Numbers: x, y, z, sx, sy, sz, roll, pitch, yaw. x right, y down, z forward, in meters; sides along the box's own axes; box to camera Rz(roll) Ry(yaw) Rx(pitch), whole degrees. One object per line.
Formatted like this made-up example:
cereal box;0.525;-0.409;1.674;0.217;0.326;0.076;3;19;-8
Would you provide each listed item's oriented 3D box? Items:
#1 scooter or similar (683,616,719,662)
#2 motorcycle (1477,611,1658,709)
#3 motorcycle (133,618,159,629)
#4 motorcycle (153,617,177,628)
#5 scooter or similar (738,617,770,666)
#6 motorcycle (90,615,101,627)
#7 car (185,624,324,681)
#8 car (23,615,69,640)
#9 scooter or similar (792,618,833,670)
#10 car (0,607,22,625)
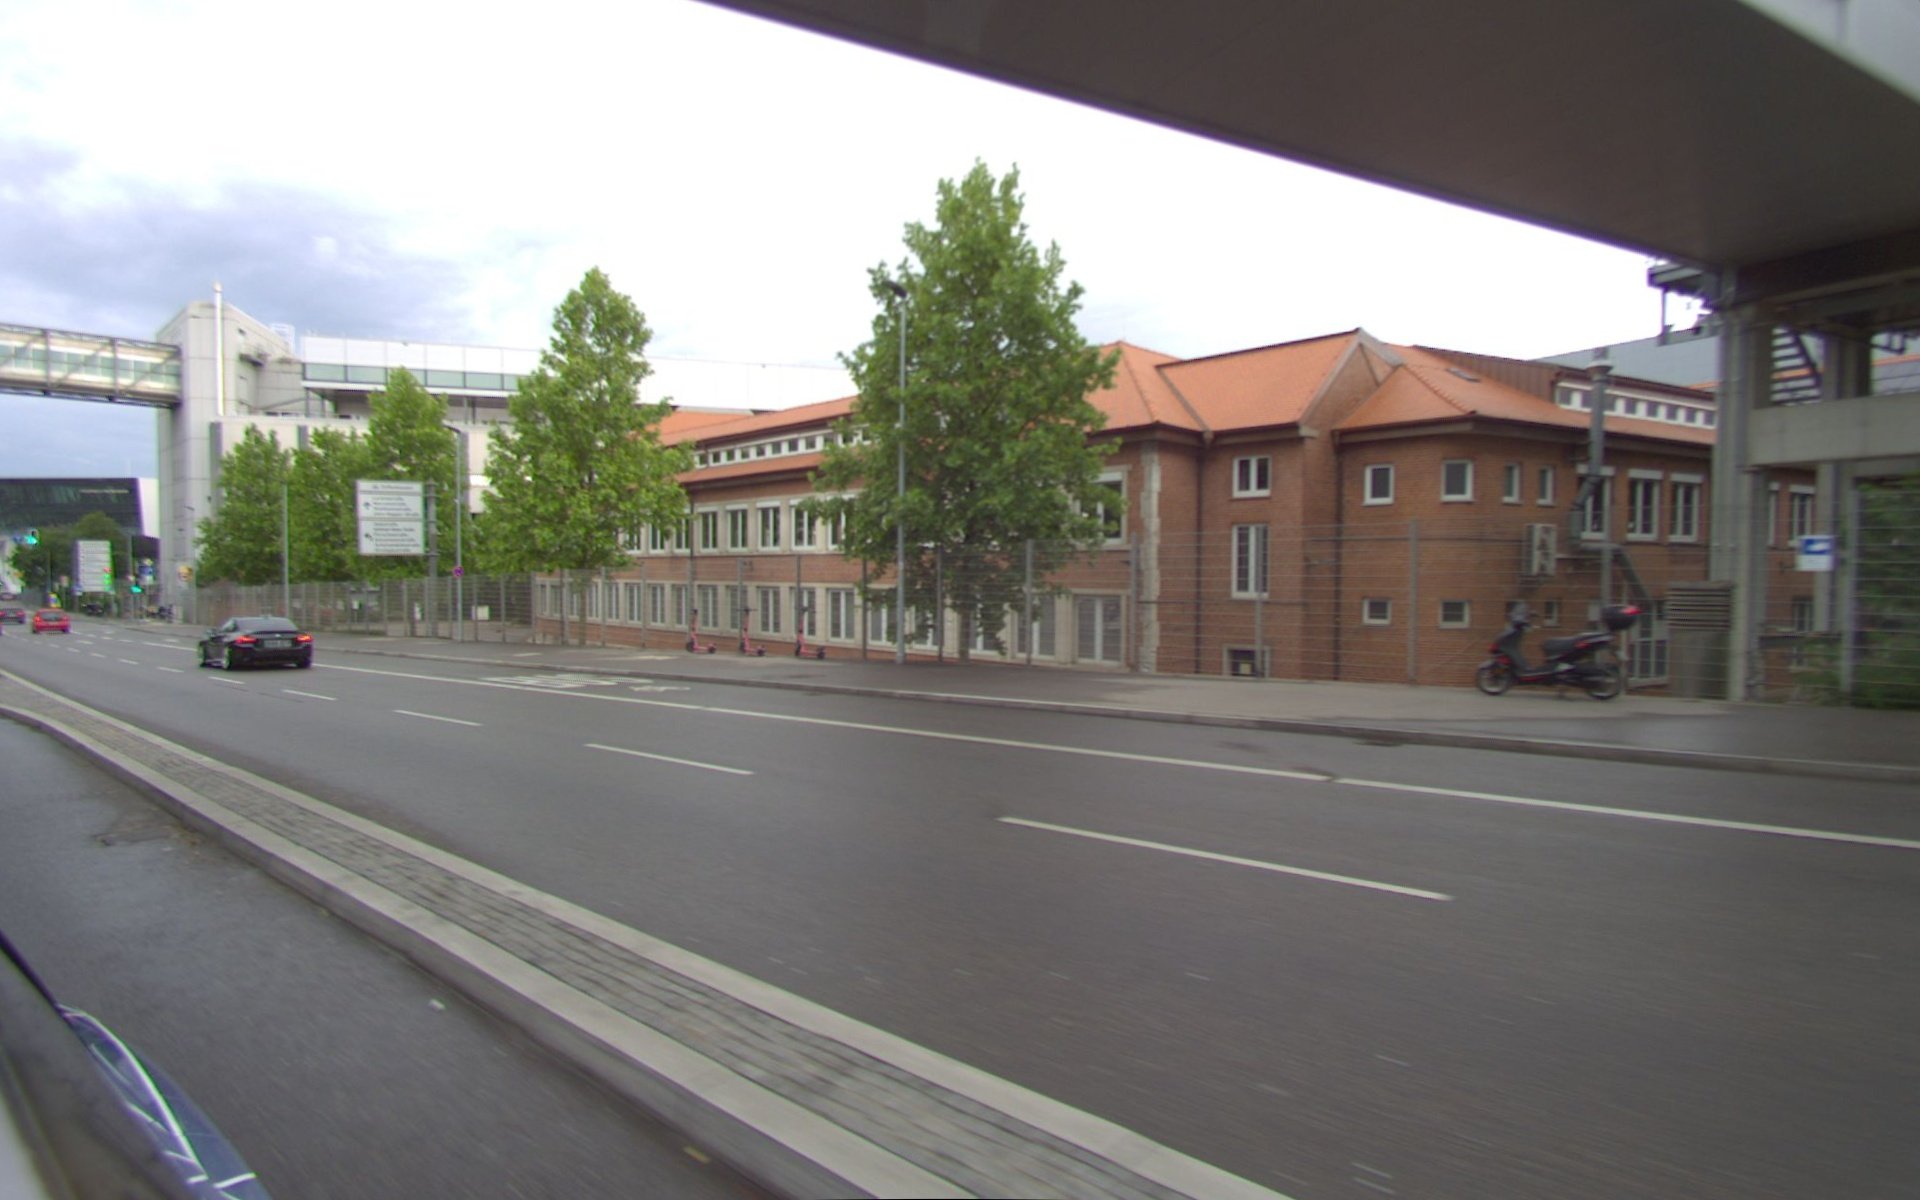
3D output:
scooter or similar;-7.137;1.071;27.870;1.308;1.227;0.308;-2;-1;43
motorcycle;8.067;0.775;13.507;1.996;1.214;0.463;-2;-1;43
motorcycle;-77.396;2.217;96.200;2.146;1.035;0.625;0;0;9
motorcycle;-75.202;2.157;95.724;2.152;1.035;0.623;0;0;17
scooter or similar;-5.325;1.067;26.145;0.307;1.227;1.311;0;-1;-35
motorcycle;-87.123;2.118;101.949;2.038;1.171;0.561;0;0;42
car;-19.157;1.349;27.397;4.755;1.372;2.042;-1;-1;42
car;-55.636;1.658;61.612;3.771;1.448;1.697;0;-1;42
scooter or similar;-3.570;1.054;24.477;0.307;1.227;1.309;0;-1;-42
car;-79.595;1.317;84.382;4.615;1.414;1.753;-1;-1;44
